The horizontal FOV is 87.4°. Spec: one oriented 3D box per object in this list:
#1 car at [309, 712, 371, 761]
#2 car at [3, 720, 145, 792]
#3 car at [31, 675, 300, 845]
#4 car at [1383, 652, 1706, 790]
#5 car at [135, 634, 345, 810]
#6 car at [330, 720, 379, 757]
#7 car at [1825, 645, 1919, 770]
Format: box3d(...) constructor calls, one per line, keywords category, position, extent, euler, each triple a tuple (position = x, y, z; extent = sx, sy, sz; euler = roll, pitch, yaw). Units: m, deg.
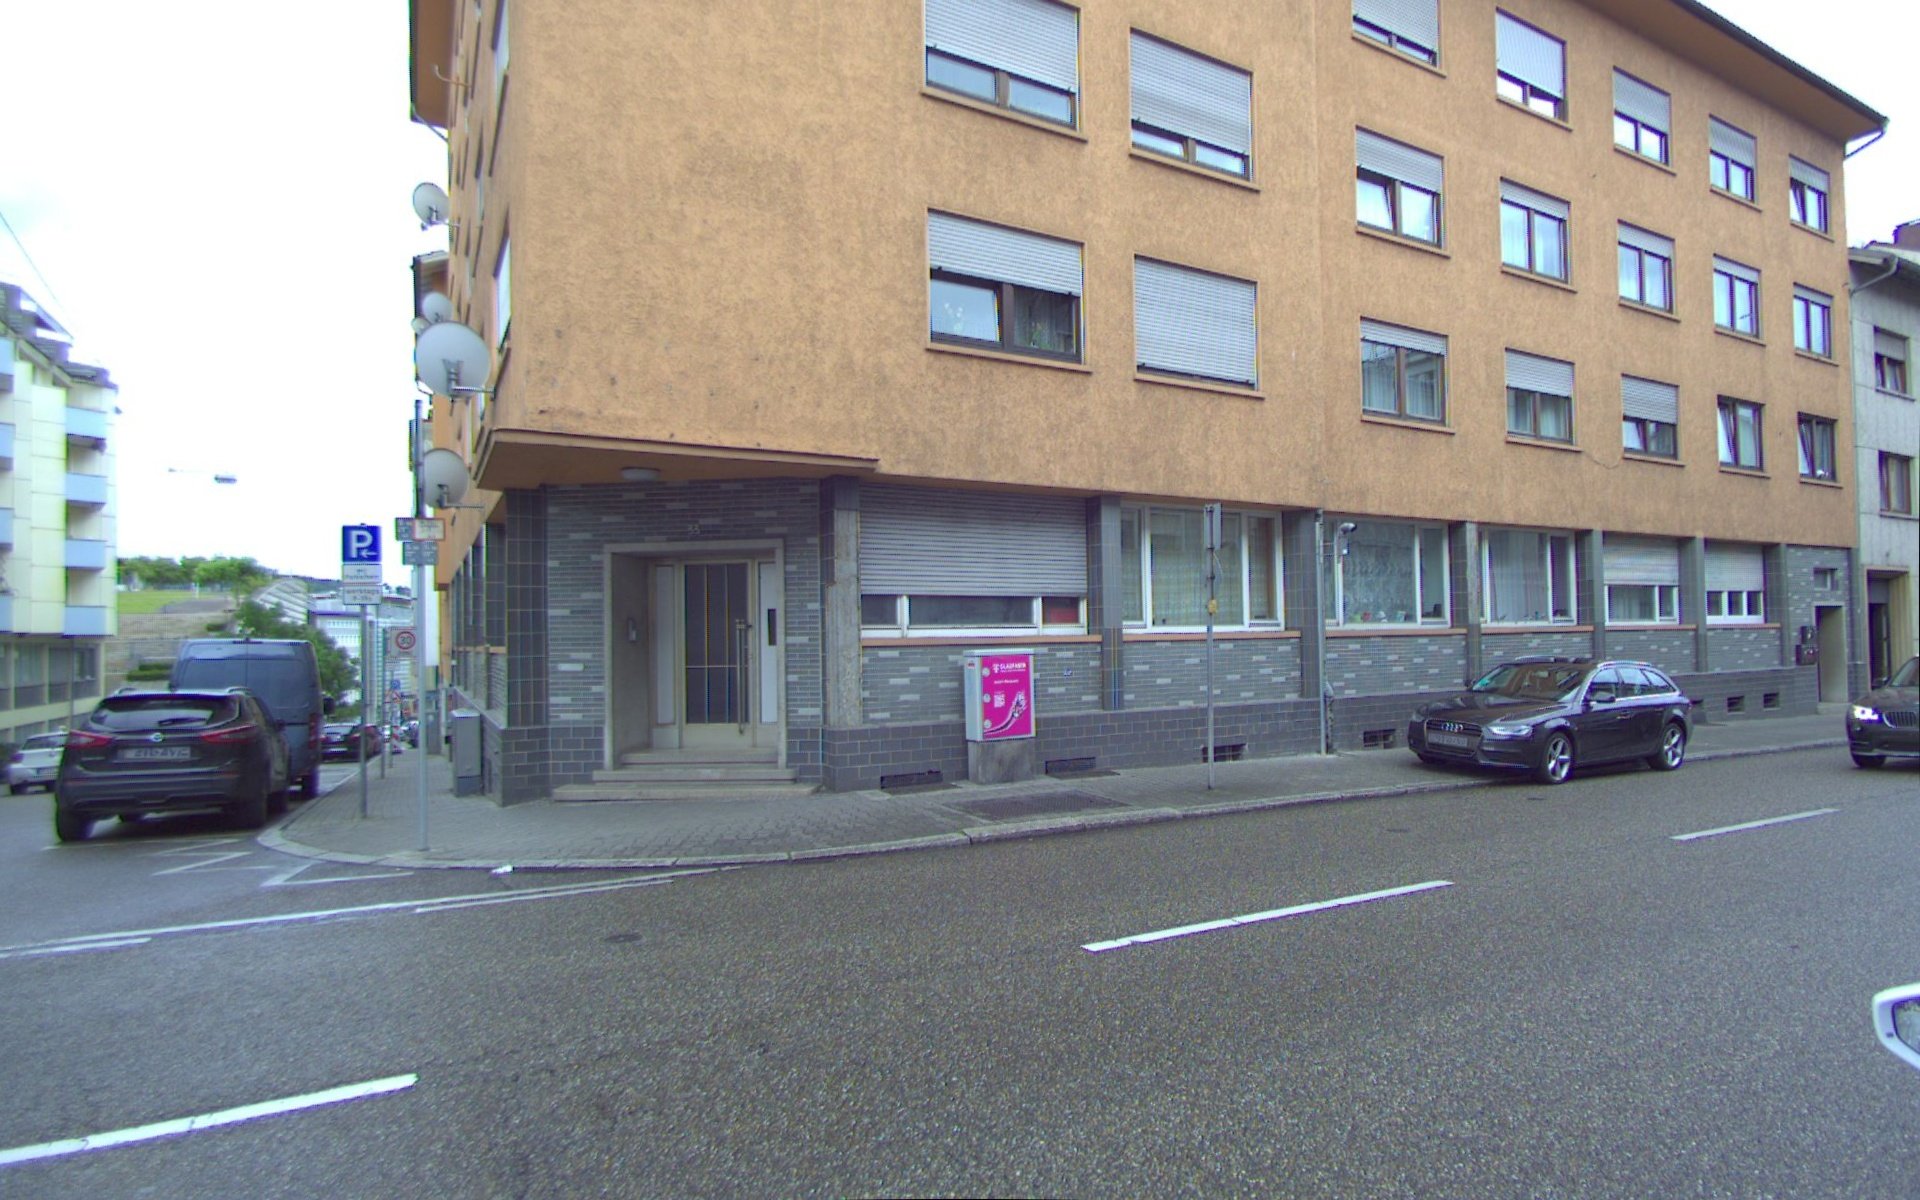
box3d(category="car", position=(-23.411, 5.162, 38.057), extent=(1.796, 1.696, 4.026), euler=(1, -7, -29))
box3d(category="car", position=(-22.201, 3.882, 25.358), extent=(1.819, 1.566, 3.973), euler=(1, -7, -29))
box3d(category="car", position=(-9.177, 1.833, 11.993), extent=(1.820, 1.596, 4.127), euler=(1, -7, -29))
box3d(category="car", position=(7.881, 1.484, 13.434), extent=(4.475, 1.457, 1.786), euler=(1, 0, -31))
box3d(category="car", position=(-12.179, 2.084, 17.473), extent=(2.223, 2.492, 6.017), euler=(1, -7, -29))
box3d(category="car", position=(-27.048, 6.191, 44.928), extent=(1.702, 1.513, 4.026), euler=(1, -7, -29))
box3d(category="car", position=(13.422, 1.353, 13.311), extent=(4.111, 1.526, 1.695), euler=(1, -5, -31))
